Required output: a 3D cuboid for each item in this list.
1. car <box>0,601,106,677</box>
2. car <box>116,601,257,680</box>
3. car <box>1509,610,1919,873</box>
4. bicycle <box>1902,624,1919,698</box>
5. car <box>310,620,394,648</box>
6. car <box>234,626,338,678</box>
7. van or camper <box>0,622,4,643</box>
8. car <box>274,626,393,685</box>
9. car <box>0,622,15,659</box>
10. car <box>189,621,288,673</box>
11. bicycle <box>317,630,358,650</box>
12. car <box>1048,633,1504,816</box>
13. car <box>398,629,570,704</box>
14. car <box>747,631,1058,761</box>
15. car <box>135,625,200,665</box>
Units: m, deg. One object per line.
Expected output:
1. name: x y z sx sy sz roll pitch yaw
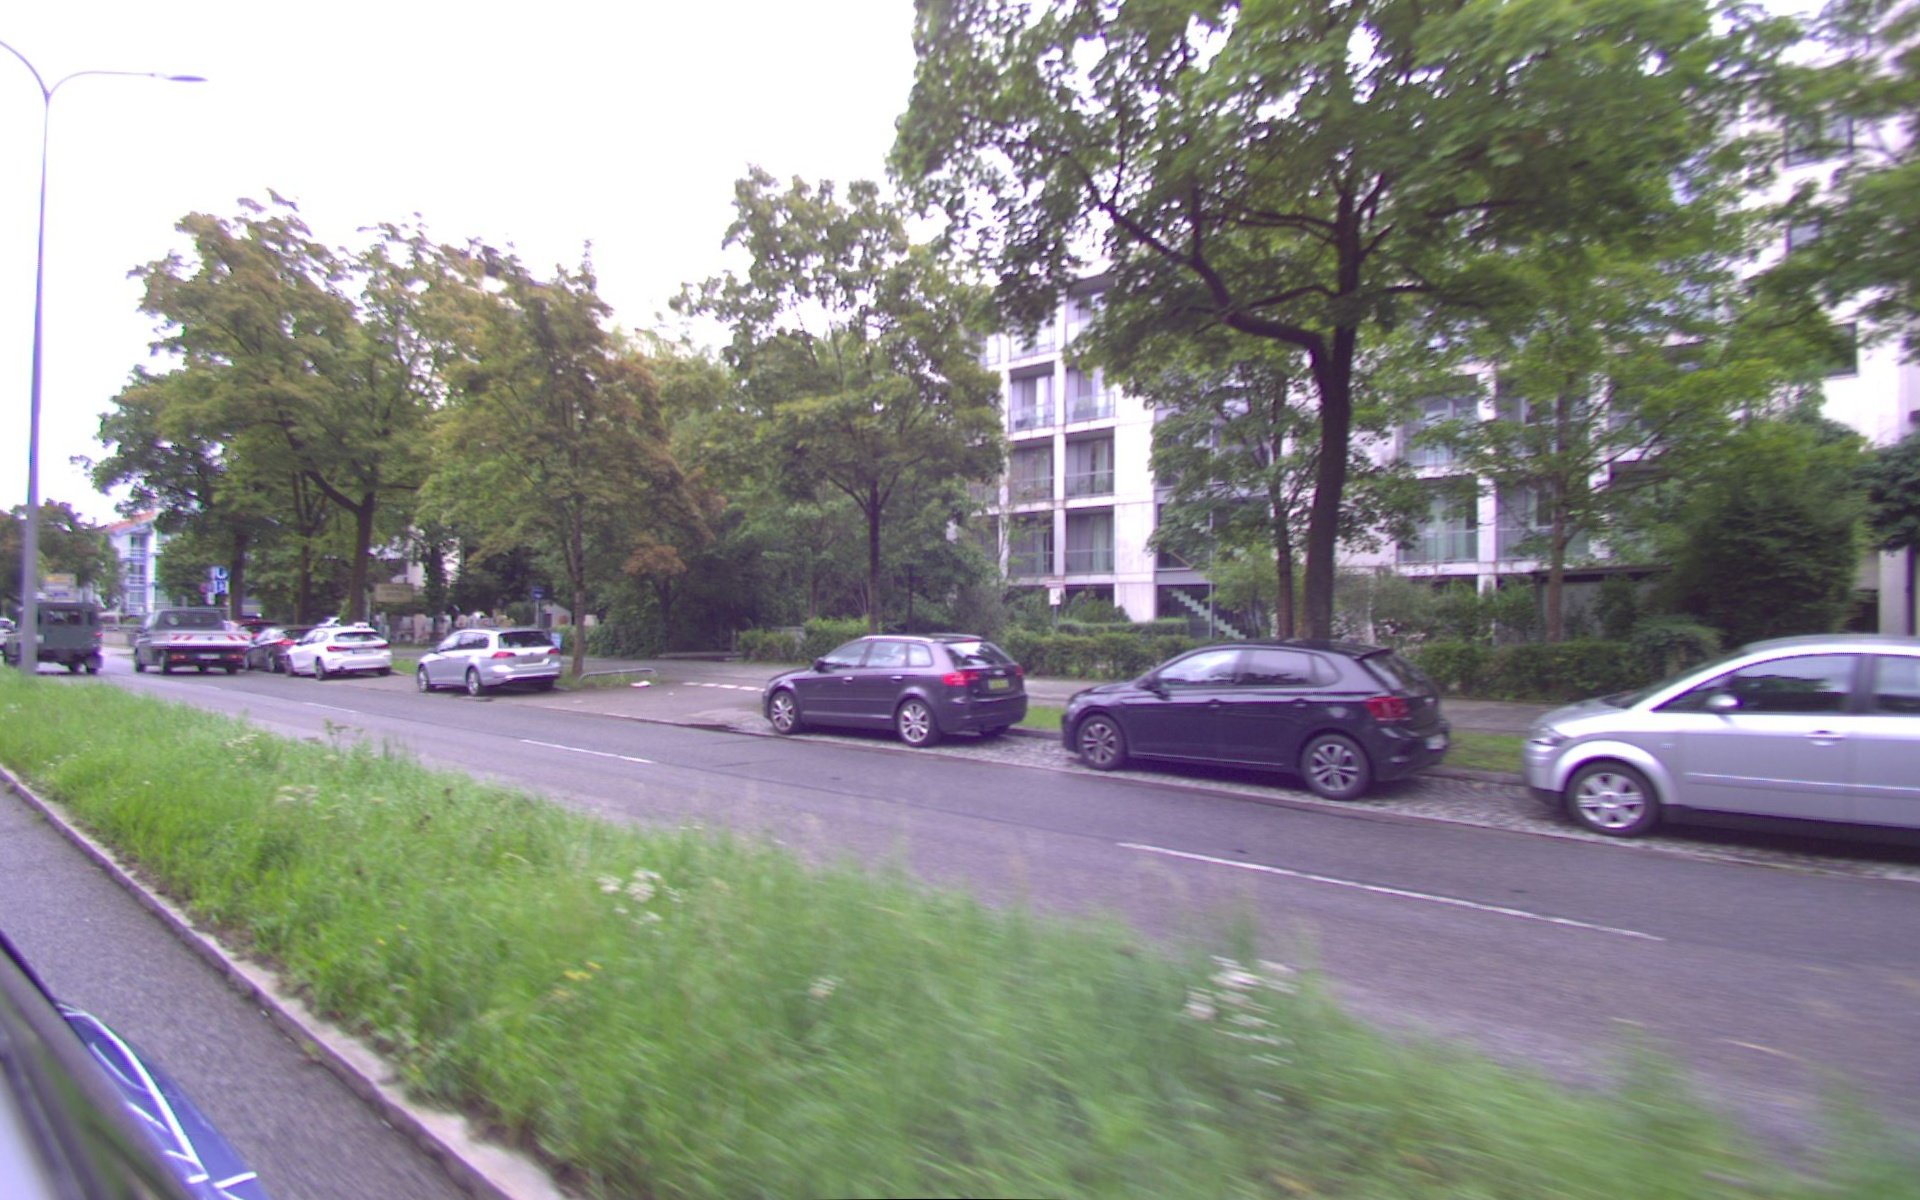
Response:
1. car: -26.539 1.126 29.494 4.815 2.045 1.762 -1 -3 41
2. car: -23.712 1.241 30.934 5.796 2.211 2.186 -1 -4 41
3. car: 6.421 0.936 7.479 3.866 1.660 1.608 -1 0 42
4. bicycle: 17.068 1.031 16.974 1.840 1.236 0.530 0 -2 8
5. car: -36.443 2.028 60.715 1.748 1.601 3.944 -2 -3 42
6. car: -21.676 1.620 32.497 4.332 1.494 1.721 -1 0 42
7. van or camper: -91.835 3.075 95.468 5.208 1.983 1.786 -1 -3 41
8. car: -18.240 1.557 29.388 4.473 1.541 1.720 -1 -1 42
9. car: -44.394 1.806 45.836 4.348 1.655 1.815 -1 -3 41
10. car: -25.784 1.632 36.107 4.602 1.664 1.722 -1 0 40
11. bicycle: -32.542 2.088 52.915 0.436 1.014 1.744 -2 -3 40
12. car: 3.078 1.101 10.445 4.191 1.434 1.608 -1 0 42
13. car: -10.880 1.422 22.969 4.820 1.459 1.718 -1 0 41
14. car: -0.917 1.189 13.845 4.360 1.434 1.564 -1 0 41
15. car: -34.143 1.890 43.583 3.819 1.626 1.629 -1 -1 43
